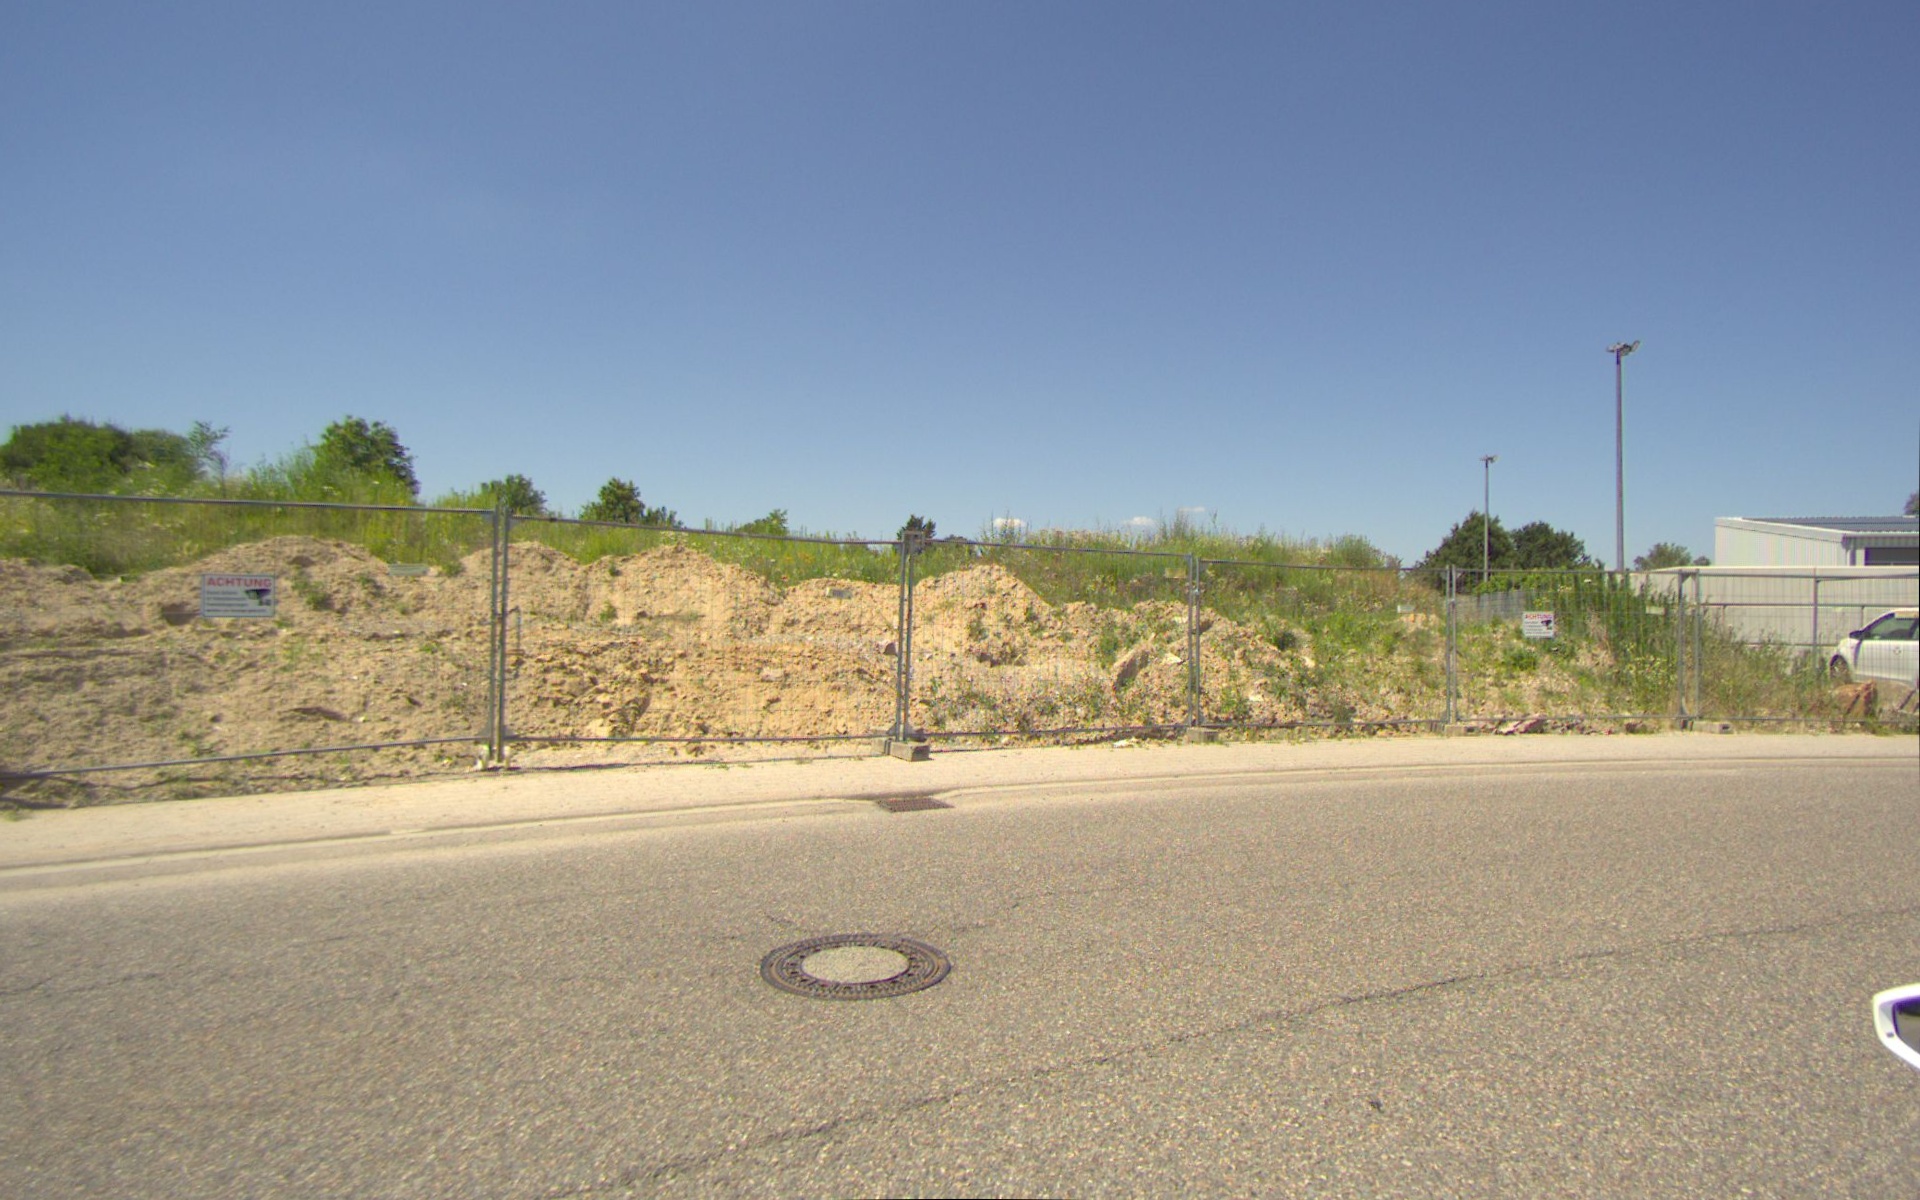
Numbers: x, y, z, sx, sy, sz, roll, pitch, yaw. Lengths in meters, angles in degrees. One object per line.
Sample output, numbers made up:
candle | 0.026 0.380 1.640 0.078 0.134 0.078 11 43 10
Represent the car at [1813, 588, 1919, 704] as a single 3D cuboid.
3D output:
car | 14.857 0.676 15.151 1.746 1.482 3.371 1 5 16
